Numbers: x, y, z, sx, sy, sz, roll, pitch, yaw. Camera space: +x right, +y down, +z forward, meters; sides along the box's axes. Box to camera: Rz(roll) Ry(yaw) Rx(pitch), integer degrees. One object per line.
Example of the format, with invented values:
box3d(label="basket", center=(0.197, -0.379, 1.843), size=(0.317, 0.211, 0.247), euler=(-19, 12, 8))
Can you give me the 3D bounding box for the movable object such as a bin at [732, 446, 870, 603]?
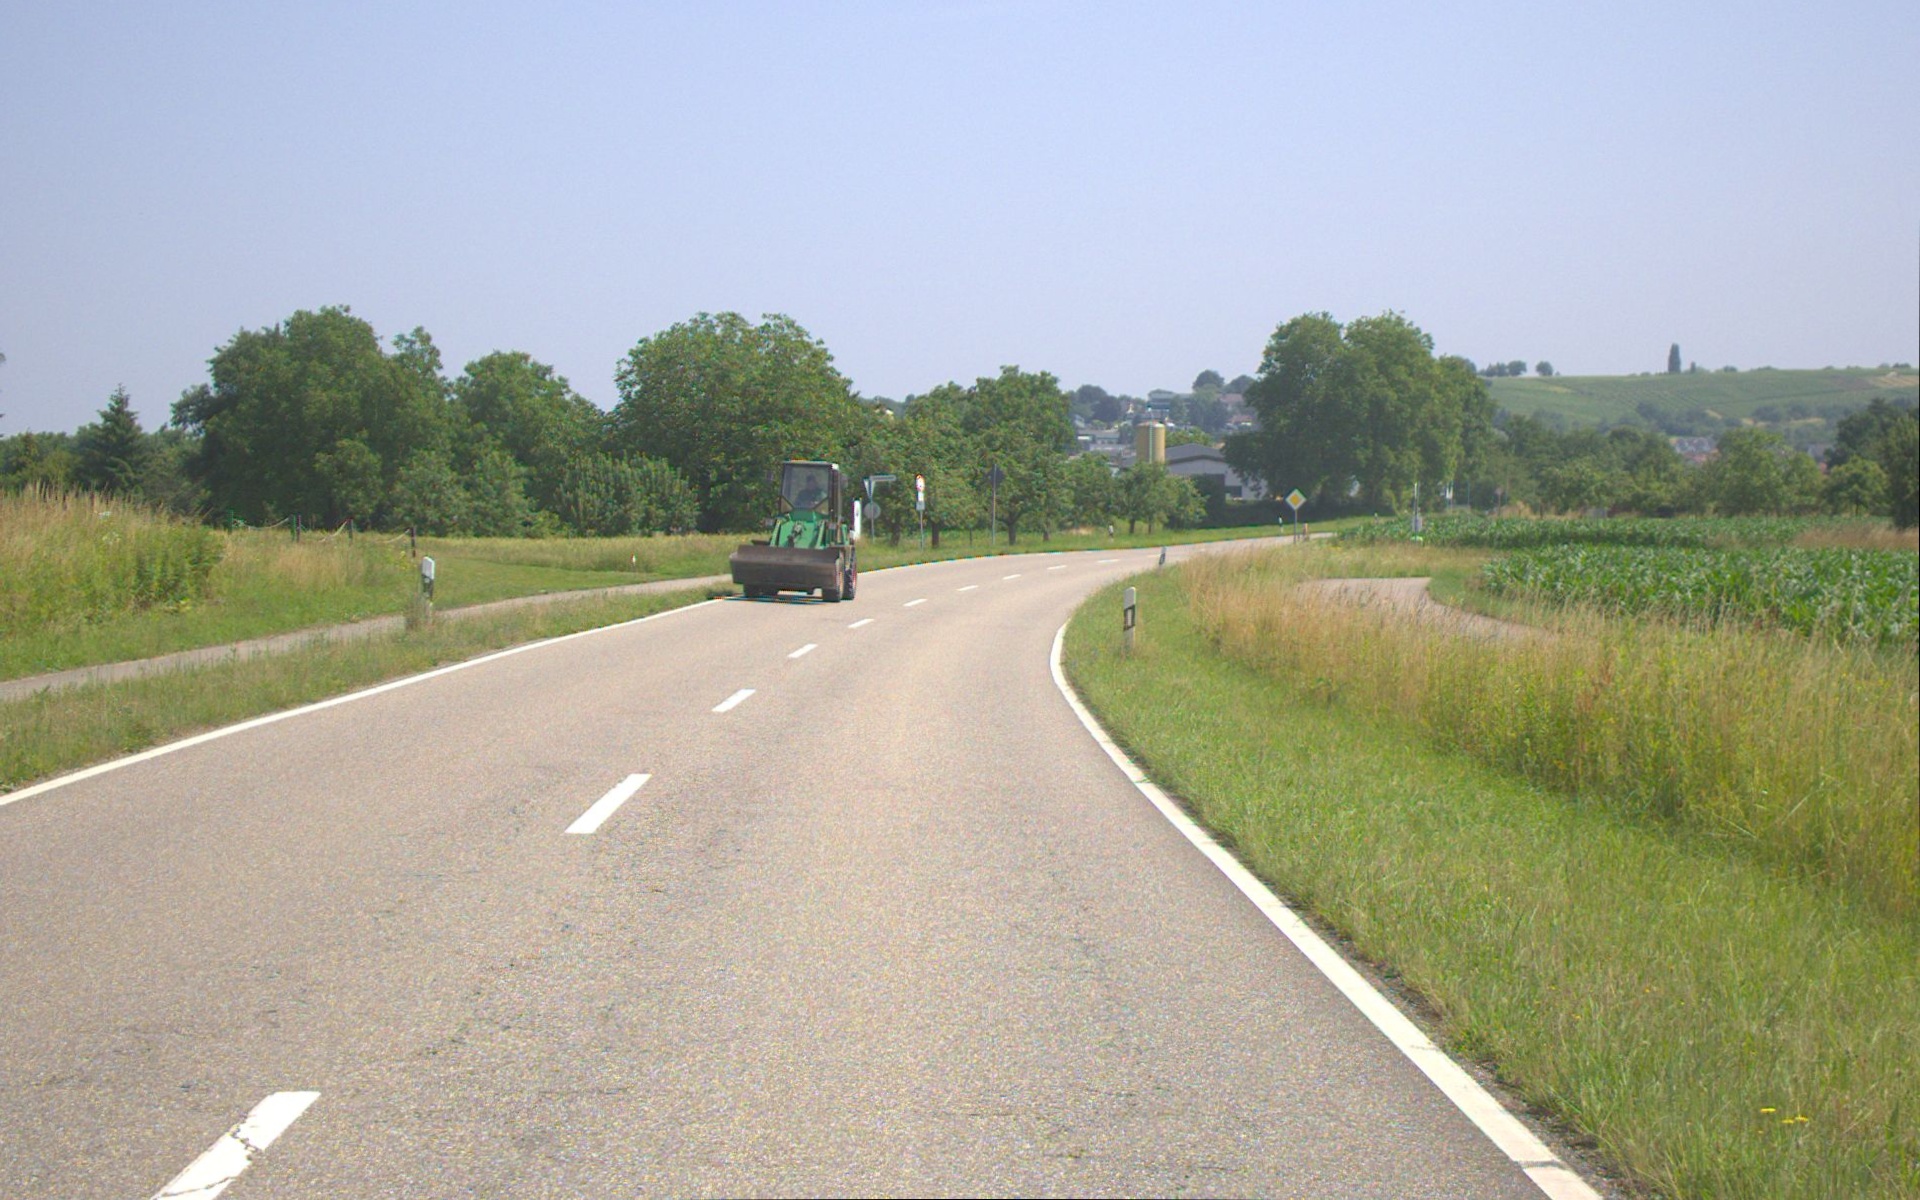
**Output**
box3d(label="movable object such as a bin", center=(-2.958, -1.439, 65.084), size=(2.001, 2.745, 5.230), euler=(3, 1, 3))
